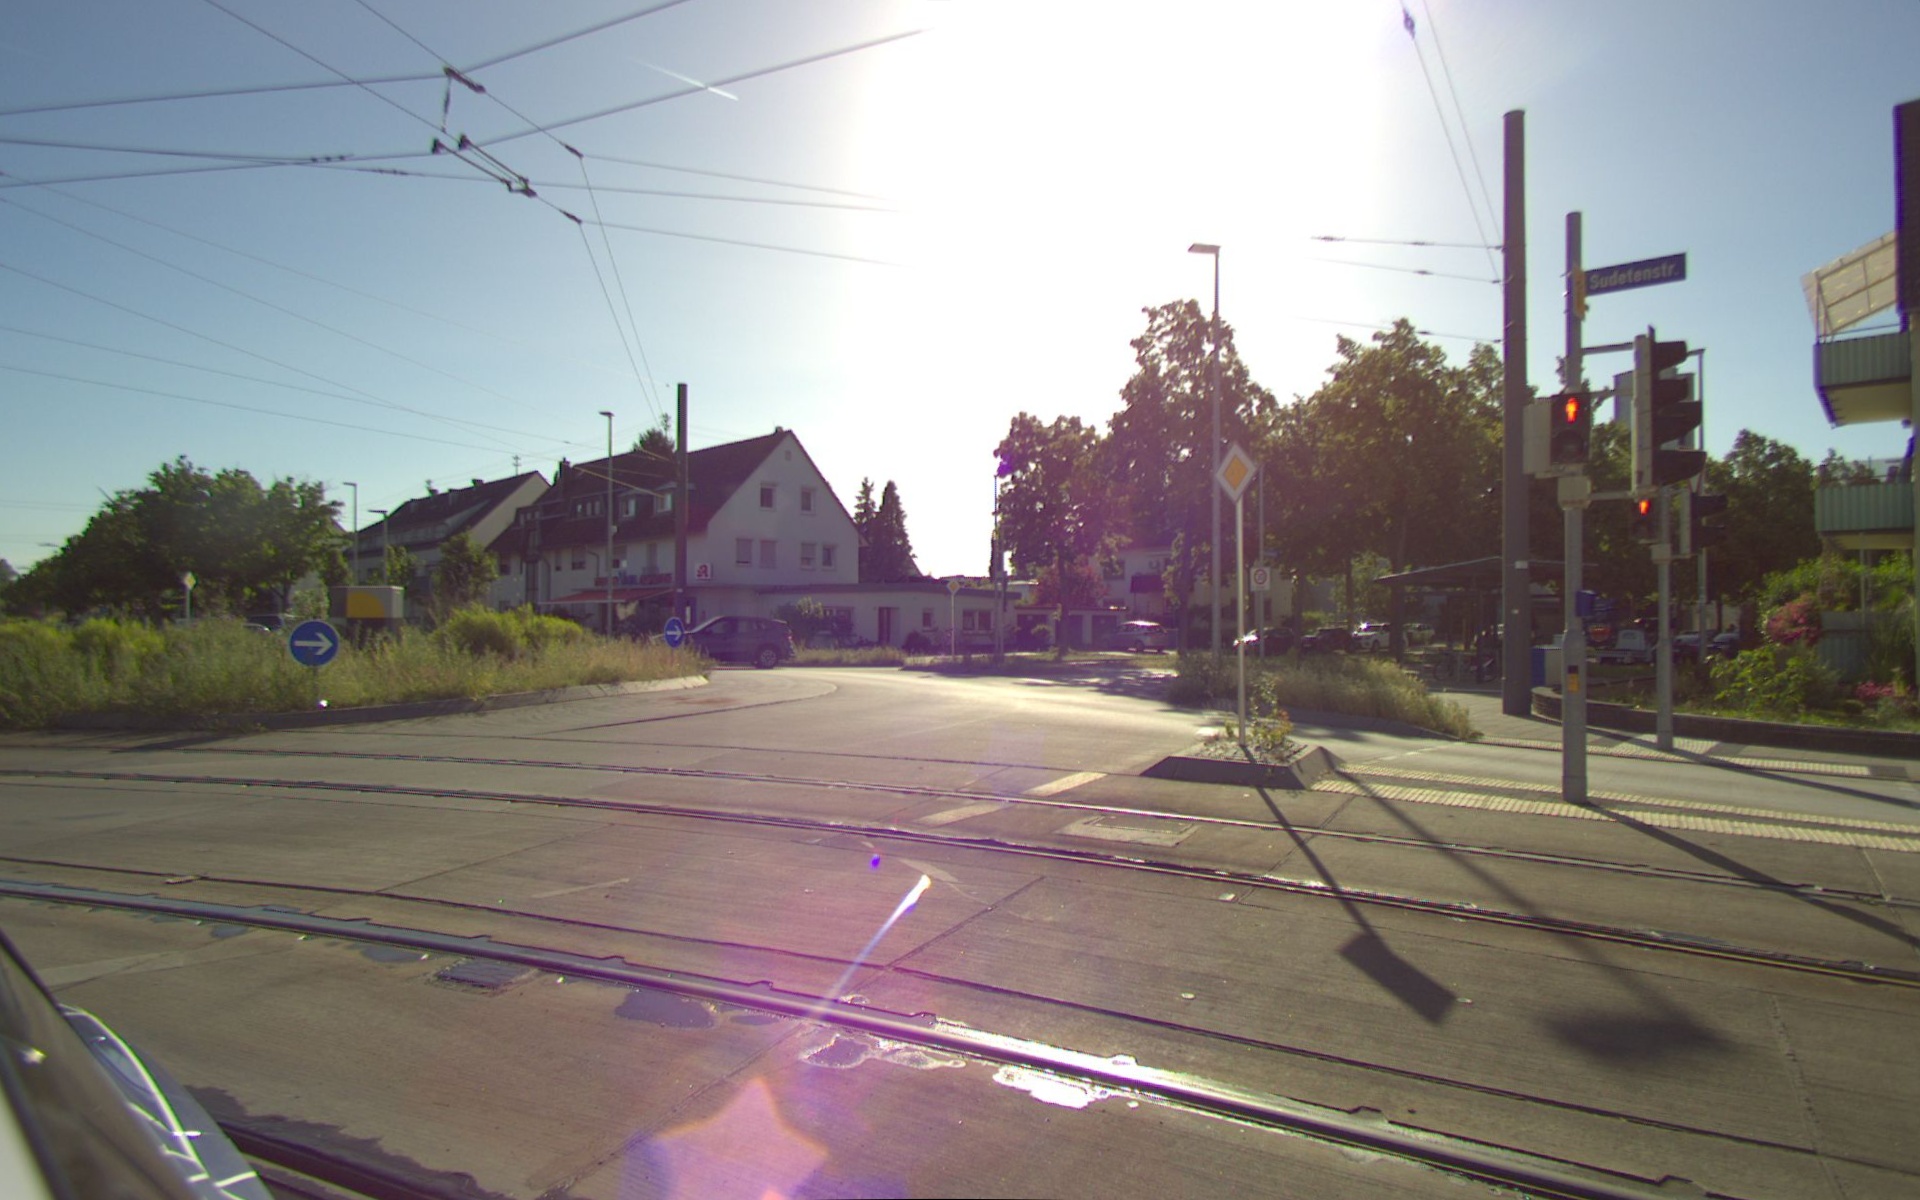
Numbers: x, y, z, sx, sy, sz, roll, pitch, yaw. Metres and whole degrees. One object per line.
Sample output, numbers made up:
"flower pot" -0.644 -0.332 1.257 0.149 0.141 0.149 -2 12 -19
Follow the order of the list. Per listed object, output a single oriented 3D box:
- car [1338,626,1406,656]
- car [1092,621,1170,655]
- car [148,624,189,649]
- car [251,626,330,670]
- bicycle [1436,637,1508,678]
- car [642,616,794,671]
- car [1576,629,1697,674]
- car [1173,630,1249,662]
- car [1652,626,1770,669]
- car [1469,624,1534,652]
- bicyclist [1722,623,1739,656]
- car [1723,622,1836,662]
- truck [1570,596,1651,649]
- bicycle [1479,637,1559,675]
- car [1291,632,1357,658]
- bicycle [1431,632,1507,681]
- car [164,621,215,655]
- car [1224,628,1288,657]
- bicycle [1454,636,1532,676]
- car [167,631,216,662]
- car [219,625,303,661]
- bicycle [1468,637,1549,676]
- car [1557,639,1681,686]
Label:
"car" 24.566 2.421 60.287 4.151 1.712 2.004 2 -1 -40
"car" 9.467 2.081 56.265 1.967 1.707 4.059 2 -1 -37
"car" -53.569 2.457 68.435 4.076 1.604 1.524 -1 -2 43
"car" -29.825 2.082 45.062 4.372 1.711 1.971 1 -1 43
"bicycle" 14.251 1.589 28.199 0.590 1.035 1.697 2 -1 -42
"car" -7.578 1.347 31.711 4.363 1.592 1.843 1 0 -22
"car" 25.781 1.935 38.664 1.552 1.545 3.535 2 -1 -38
"car" 11.879 2.150 47.749 3.940 1.375 1.601 2 -1 -44
"car" 30.265 1.895 40.868 1.552 1.545 3.535 2 -1 -38
"car" 37.593 2.617 70.198 4.976 1.786 2.005 2 -1 -36
"bicyclist" 40.188 2.063 52.776 0.605 1.727 0.536 -2 -6 44
"car" 35.390 1.794 43.760 1.552 1.545 3.535 2 -1 -38
"truck" 51.739 1.773 80.405 7.881 4.023 3.085 1 0 -40
"bicycle" 16.765 1.660 30.362 0.678 1.035 1.982 2 -1 -42
"car" 20.762 2.524 57.605 3.940 1.334 1.970 2 -1 -44
"bicycle" 13.589 1.495 27.038 0.678 1.217 1.673 2 -1 -42
"car" -49.428 2.414 64.888 4.371 2.030 1.870 1 -1 43
"car" 15.839 2.239 54.039 1.805 1.475 3.748 1 -1 43
"bicycle" 15.304 1.589 29.105 0.678 1.035 1.849 2 -1 -42
"car" -45.507 2.692 59.861 1.895 1.628 4.289 2 -1 -43
"car" -33.431 2.060 48.469 3.025 1.632 1.415 1 -1 -17
"bicycle" 16.086 1.642 29.712 0.685 1.035 1.982 2 -1 -42
"car" 24.382 2.274 37.531 1.552 1.545 3.535 2 -1 -38
